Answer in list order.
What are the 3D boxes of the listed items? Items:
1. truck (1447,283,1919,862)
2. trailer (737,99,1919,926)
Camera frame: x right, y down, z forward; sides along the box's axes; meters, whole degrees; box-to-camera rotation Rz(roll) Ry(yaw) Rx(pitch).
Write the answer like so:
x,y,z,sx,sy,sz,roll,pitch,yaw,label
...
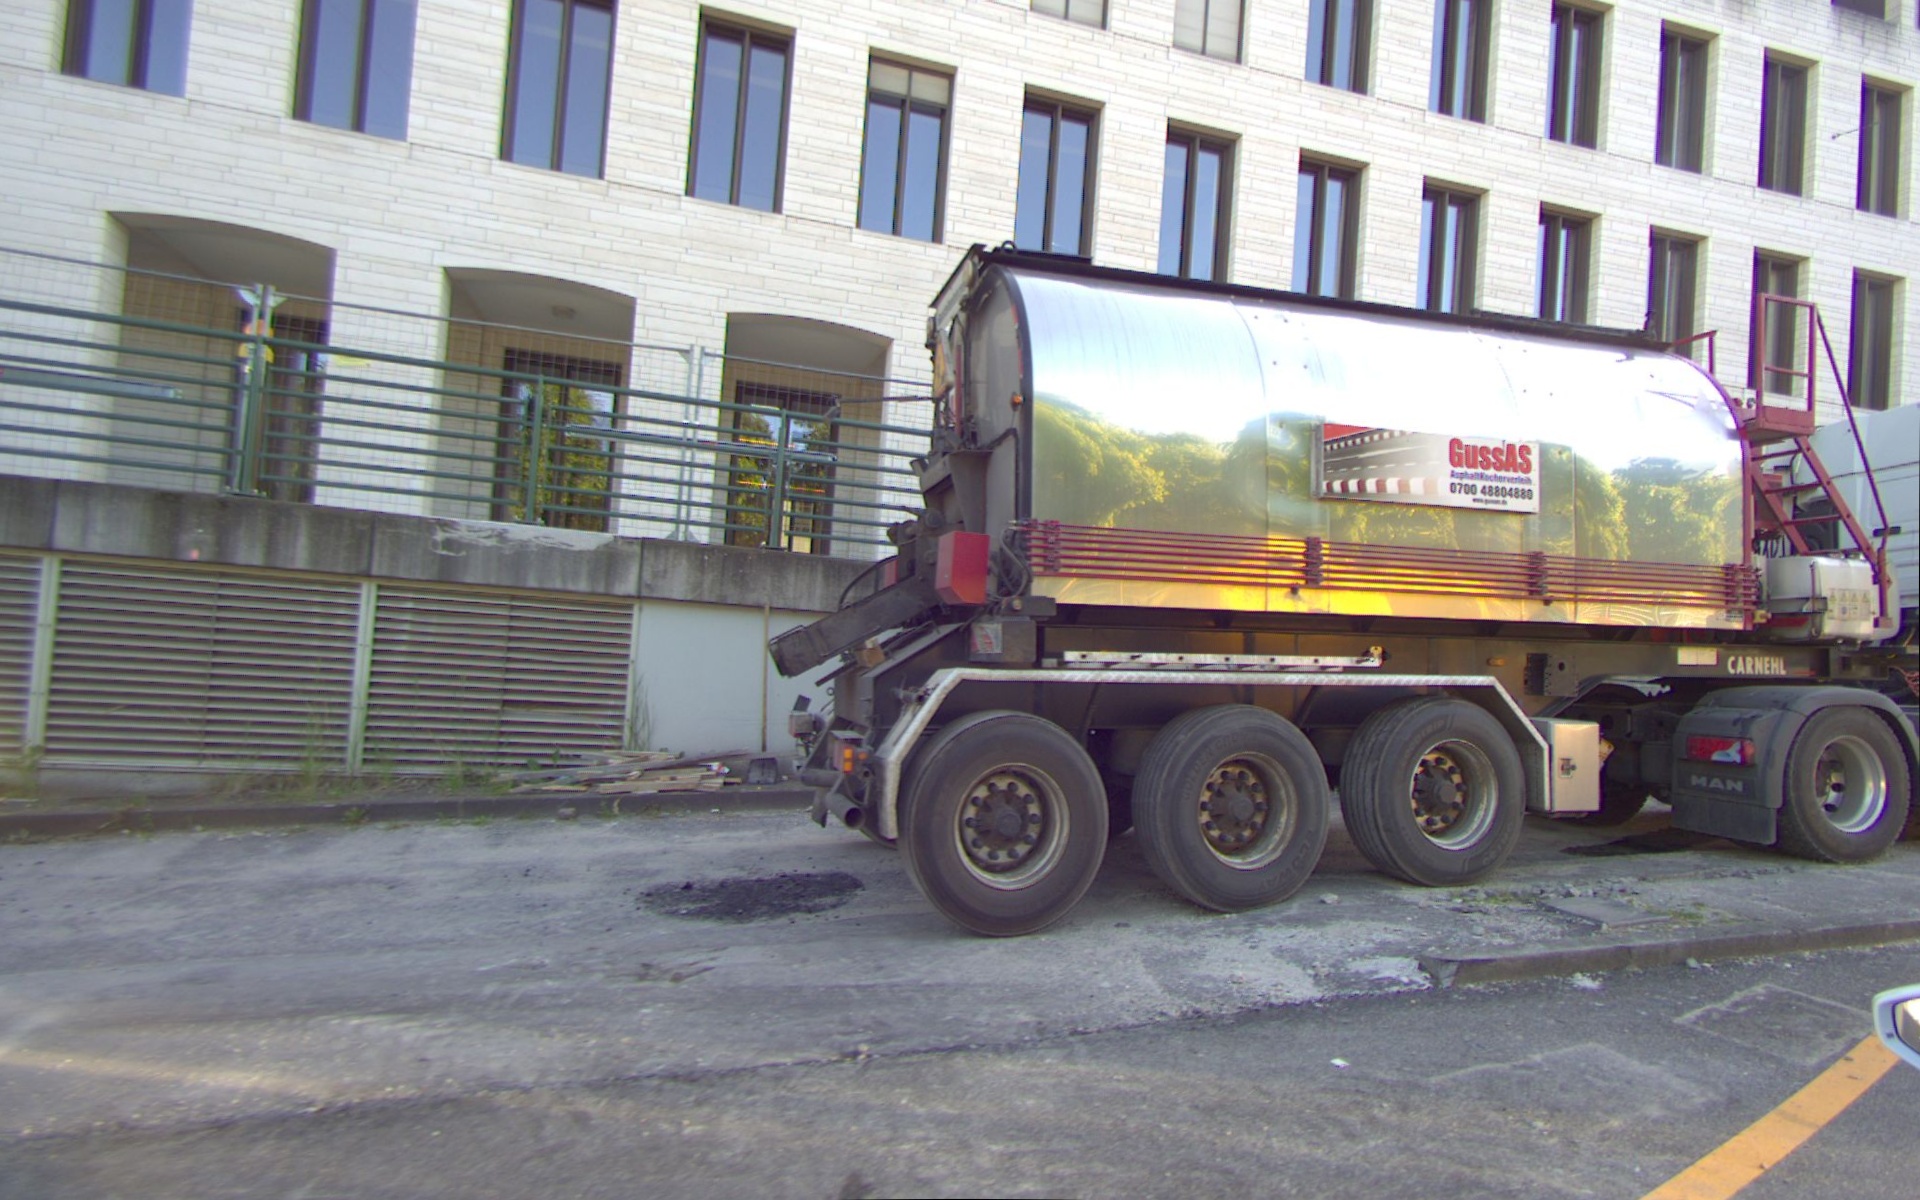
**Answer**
x,y,z,sx,sy,sz,roll,pitch,yaw,label
7.286,-0.009,8.030,5.716,3.534,2.583,2,-5,-14,truck
2.970,-0.194,6.911,8.604,3.715,2.644,2,-5,-16,trailer
